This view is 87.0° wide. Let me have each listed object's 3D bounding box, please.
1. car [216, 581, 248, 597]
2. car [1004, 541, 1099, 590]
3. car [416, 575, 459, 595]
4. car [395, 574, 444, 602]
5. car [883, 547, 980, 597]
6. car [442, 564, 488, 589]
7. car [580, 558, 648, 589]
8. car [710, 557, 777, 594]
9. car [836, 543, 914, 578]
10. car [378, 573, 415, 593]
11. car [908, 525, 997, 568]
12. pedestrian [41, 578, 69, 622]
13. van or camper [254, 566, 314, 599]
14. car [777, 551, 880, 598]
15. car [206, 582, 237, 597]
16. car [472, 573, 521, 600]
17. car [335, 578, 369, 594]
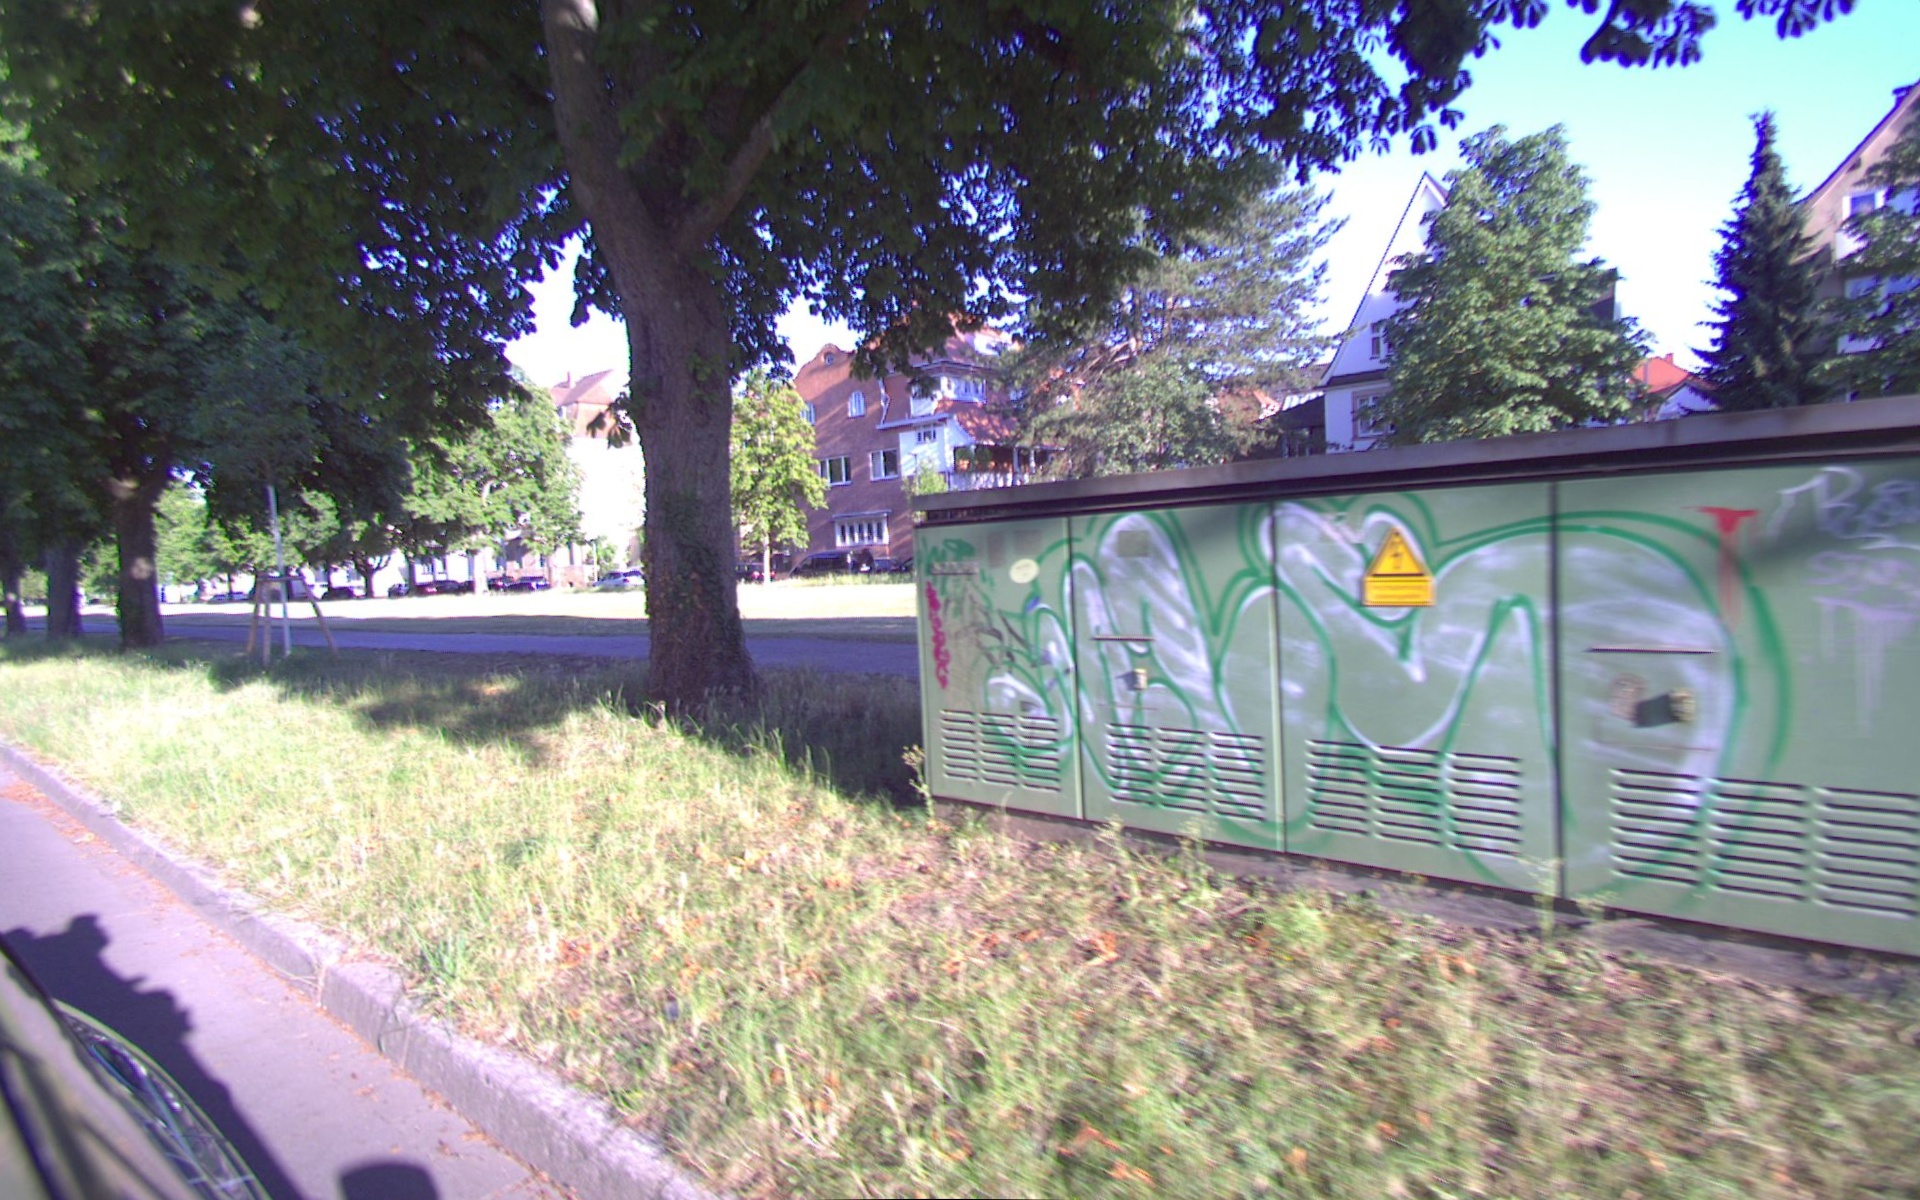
[{"bbox_3d":[-86.235,-1.291,119.903,4.874,1.702,1.973,-1,3,42],"label":"car"},{"bbox_3d":[4.265,-1.616,47.551,4.000,2.028,1.973,-1,3,43],"label":"car"},{"bbox_3d":[-48.402,-1.389,93.727,4.425,1.664,1.974,-1,3,40],"label":"car"},{"bbox_3d":[-44.532,-0.976,83.310,4.876,2.028,1.972,-1,3,43],"label":"car"},{"bbox_3d":[-1.299,-1.230,45.277,3.998,2.028,1.973,-1,4,42],"label":"car"},{"bbox_3d":[-44.027,-2.080,90.018,4.425,2.028,1.974,-1,3,40],"label":"car"},{"bbox_3d":[-21.445,-1.606,62.676,4.648,1.651,1.801,-1,3,41],"label":"car"},{"bbox_3d":[-13.488,-1.490,62.860,4.367,2.028,1.739,-2,3,42],"label":"car"},{"bbox_3d":[-4.742,-2.185,55.922,4.304,1.635,1.739,-2,3,42],"label":"car"},{"bbox_3d":[-56.012,-1.697,100.520,4.000,1.747,1.972,-1,3,43],"label":"car"},{"bbox_3d":[-0.435,-2.716,51.637,4.406,1.851,1.798,-2,3,42],"label":"car"},{"bbox_3d":[-37.047,0.000,41.432,0.716,1.770,0.994,-5,3,-42],"label":"pedestrian"},{"bbox_3d":[-71.392,-1.856,106.774,7.894,3.133,3.221,-1,3,42],"label":"van or camper"},{"bbox_3d":[-6.479,-1.223,49.489,5.244,1.954,1.973,-2,3,42],"label":"car"},{"bbox_3d":[-90.230,-1.273,123.572,4.874,1.702,1.973,-1,3,42],"label":"car"},{"bbox_3d":[-39.591,-1.127,86.314,4.876,2.028,1.972,-1,3,43],"label":"car"},{"bbox_3d":[-65.940,-1.549,109.787,3.998,1.474,1.974,-2,3,41],"label":"car"}]
